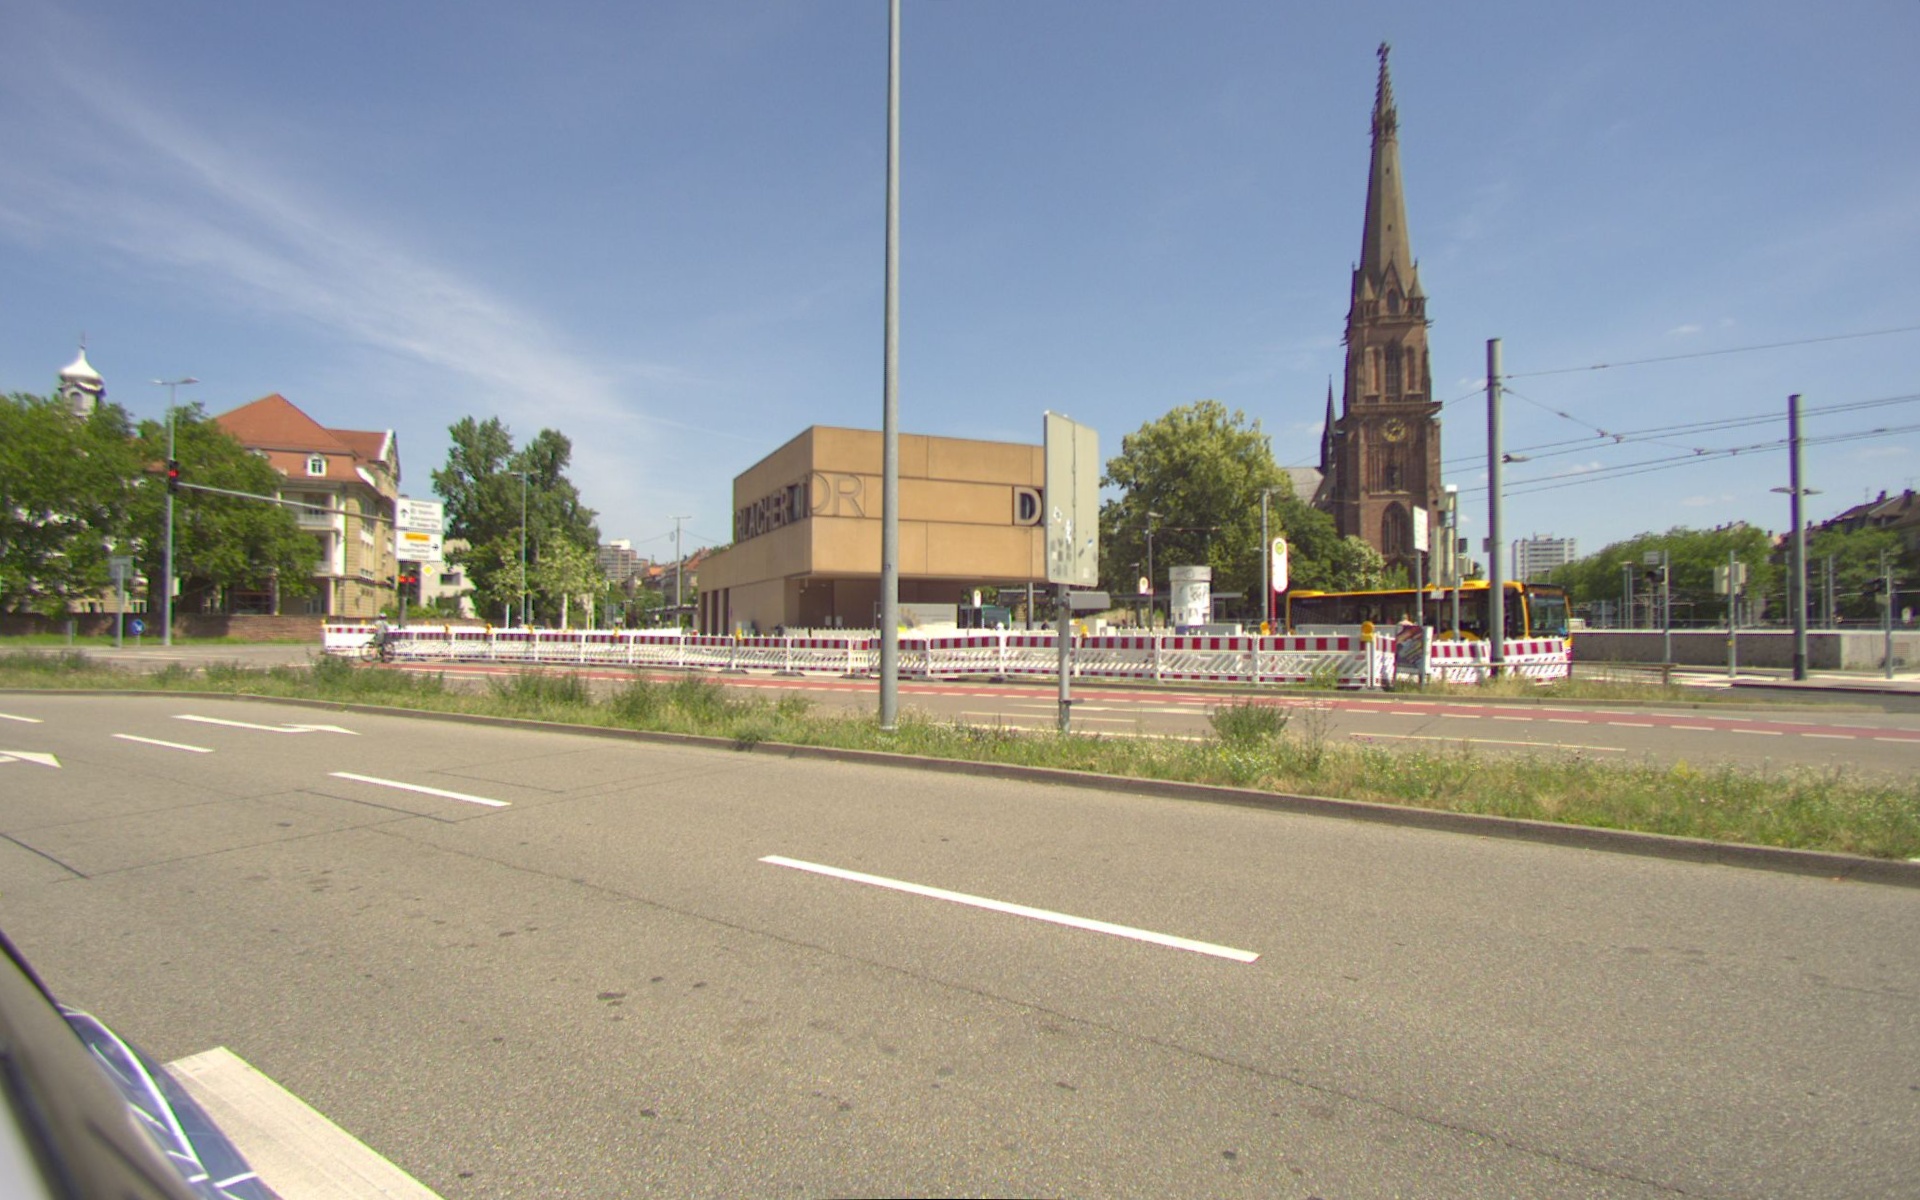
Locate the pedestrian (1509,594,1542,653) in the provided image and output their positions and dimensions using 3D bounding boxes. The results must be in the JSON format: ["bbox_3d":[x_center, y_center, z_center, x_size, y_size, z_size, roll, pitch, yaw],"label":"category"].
[{"bbox_3d":[19.631,0.808,35.115,0.601,2.011,0.666,-1,-3,-20],"label":"pedestrian"}]

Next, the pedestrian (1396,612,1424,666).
[{"bbox_3d":[16.977,1.461,38.158,0.601,2.011,0.665,-2,-3,-10],"label":"pedestrian"}]

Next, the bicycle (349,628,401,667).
[{"bbox_3d":[-18.732,1.497,32.400,1.890,1.189,0.519,0,-2,29],"label":"bicycle"}]

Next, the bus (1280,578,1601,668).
[{"bbox_3d":[18.681,0.971,41.015,3.674,3.064,12.293,1,-2,-24],"label":"bus"}]

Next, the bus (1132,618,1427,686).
[{"bbox_3d":[6.584,1.133,21.386,5.803,1.259,1.234,-4,-3,33],"label":"bus"}]

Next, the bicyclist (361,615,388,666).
[{"bbox_3d":[-18.765,1.289,32.431,0.496,1.591,0.526,0,-1,28],"label":"bicyclist"}]
